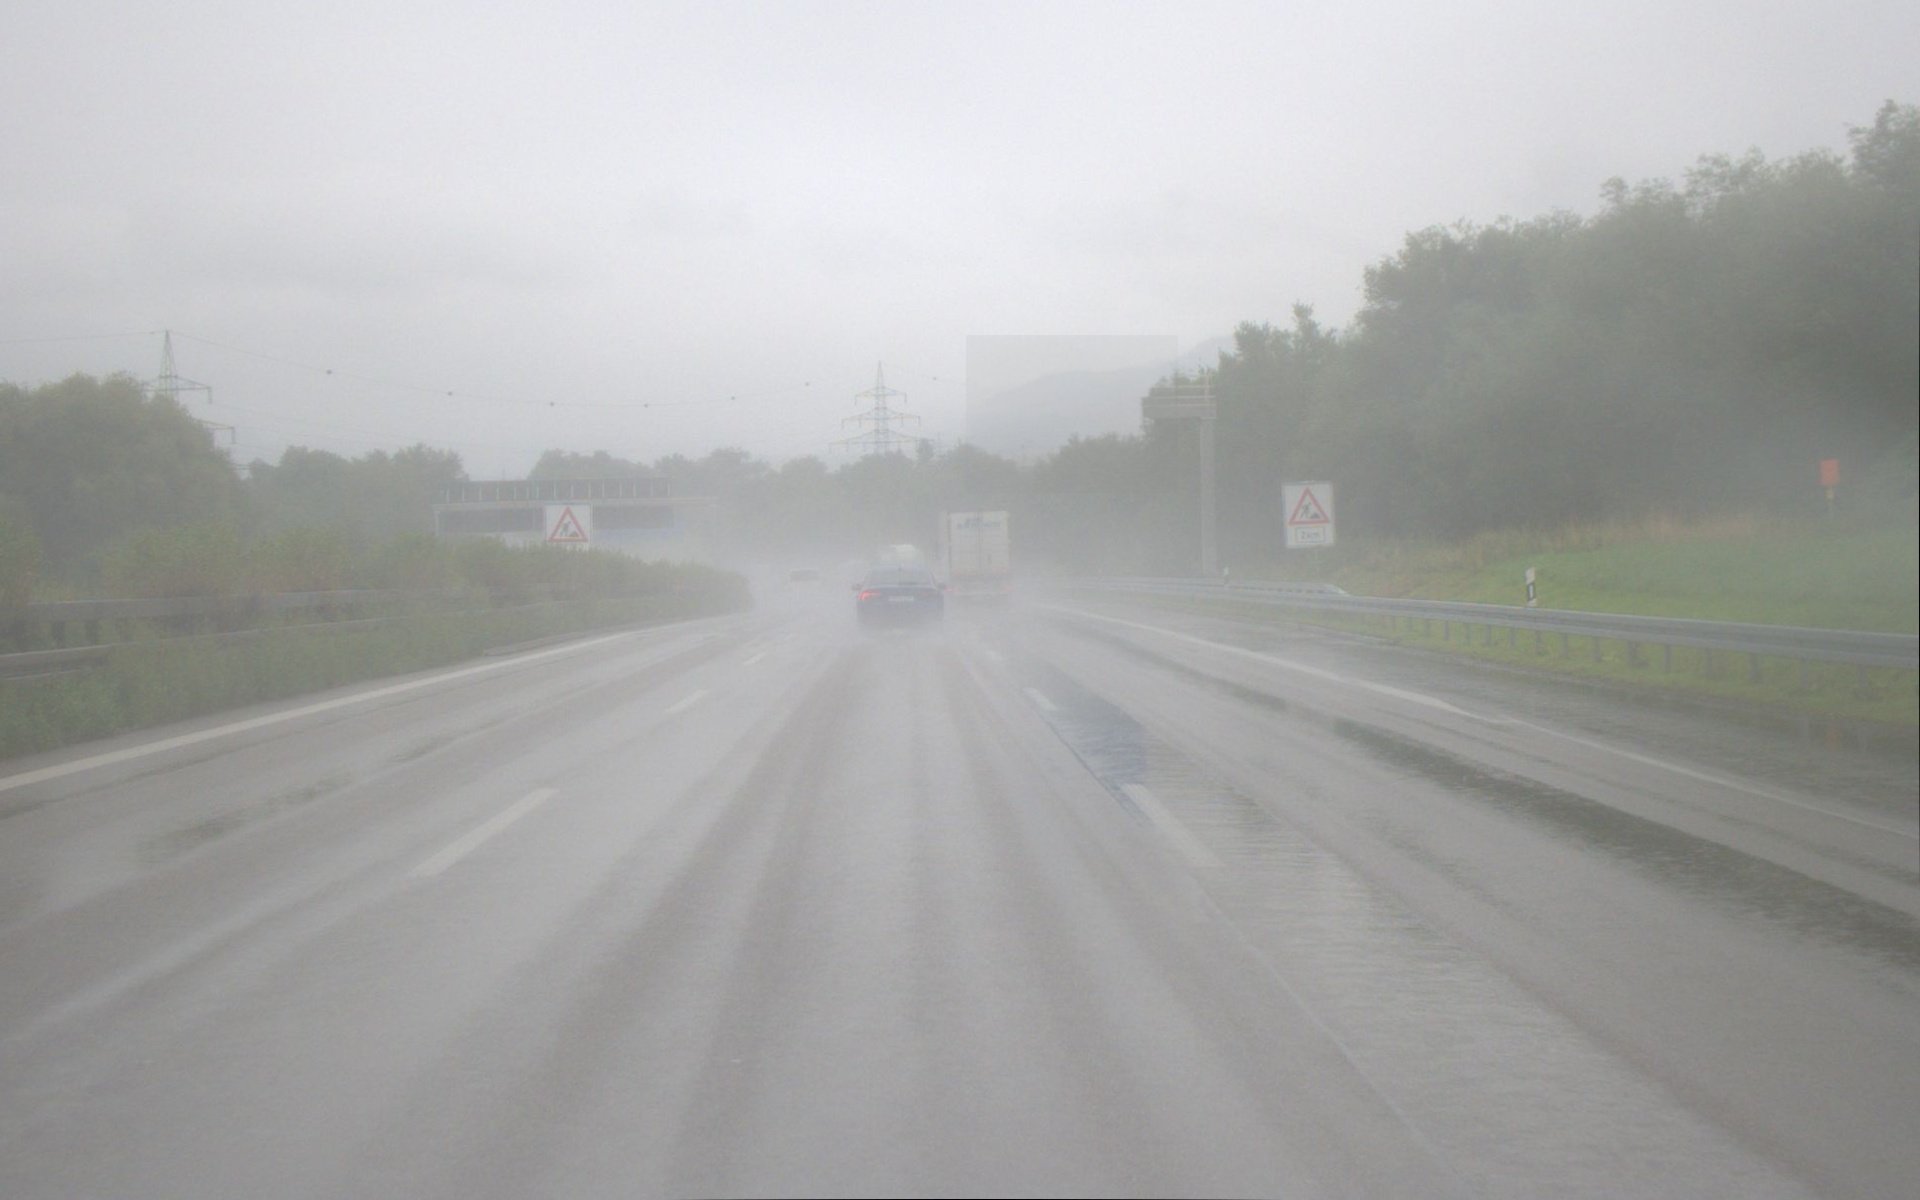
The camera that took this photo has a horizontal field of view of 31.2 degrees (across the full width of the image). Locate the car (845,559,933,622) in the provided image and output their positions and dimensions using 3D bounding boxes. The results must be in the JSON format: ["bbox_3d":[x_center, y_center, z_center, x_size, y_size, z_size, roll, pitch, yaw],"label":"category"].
[{"bbox_3d":[-1.469,-0.176,70.462,1.748,1.208,4.000,0,-1,-2],"label":"car"}]

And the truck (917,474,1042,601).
[{"bbox_3d":[0.699,-2.710,149.697,4.256,4.955,17.343,-4,1,-2],"label":"truck"}]
